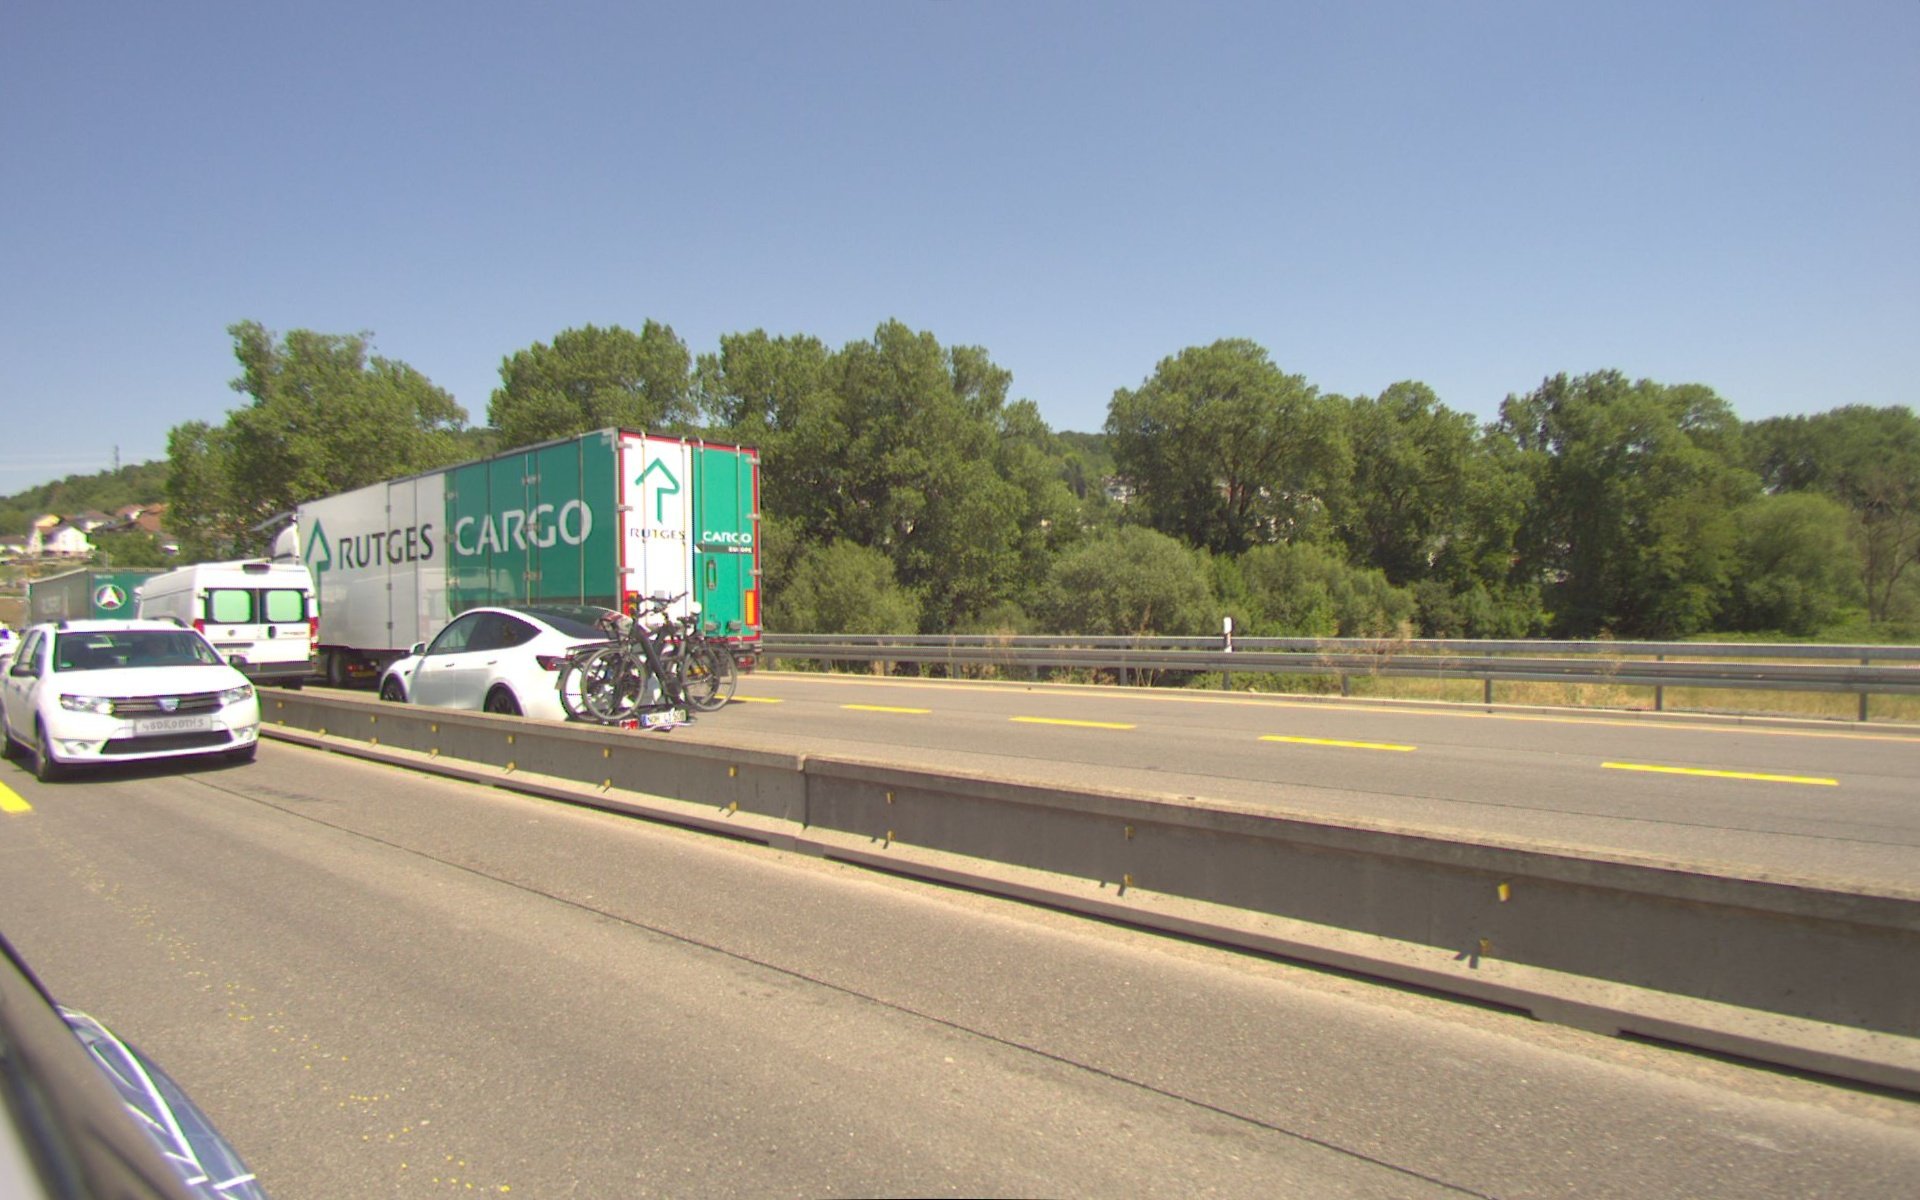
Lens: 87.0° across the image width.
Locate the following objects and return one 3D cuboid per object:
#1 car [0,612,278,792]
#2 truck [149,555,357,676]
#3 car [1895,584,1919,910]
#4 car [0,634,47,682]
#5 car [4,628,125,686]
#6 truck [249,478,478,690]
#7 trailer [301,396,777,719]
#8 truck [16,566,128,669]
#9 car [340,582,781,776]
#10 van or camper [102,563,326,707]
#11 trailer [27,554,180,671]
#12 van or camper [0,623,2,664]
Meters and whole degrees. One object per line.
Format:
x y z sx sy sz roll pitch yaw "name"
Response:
-9.186 0.961 10.979 4.703 1.542 1.800 -2 -2 41 "car"
-25.047 0.632 35.700 8.339 3.793 2.883 -3 -1 32 "truck"
5.845 0.579 2.422 5.119 1.443 1.864 -3 0 40 "car"
-35.785 2.187 37.907 4.151 1.659 1.739 -3 0 39 "car"
-26.621 1.677 30.018 4.970 1.509 1.973 -3 0 40 "car"
-14.347 -0.231 24.141 6.220 4.426 2.778 -3 -2 40 "truck"
-8.817 -0.458 19.342 13.159 4.464 2.786 -2 -1 41 "trailer"
-42.463 0.884 48.329 7.098 4.571 3.046 -3 -1 41 "truck"
-4.916 0.810 11.914 5.776 1.739 2.348 -3 -1 40 "car"
-15.451 0.723 20.771 6.527 2.530 2.196 -3 -1 40 "van or camper"
-37.697 0.714 44.281 13.009 4.499 3.070 -3 -2 40 "trailer"
-66.479 3.001 68.049 5.240 2.719 2.478 -3 -1 41 "van or camper"
